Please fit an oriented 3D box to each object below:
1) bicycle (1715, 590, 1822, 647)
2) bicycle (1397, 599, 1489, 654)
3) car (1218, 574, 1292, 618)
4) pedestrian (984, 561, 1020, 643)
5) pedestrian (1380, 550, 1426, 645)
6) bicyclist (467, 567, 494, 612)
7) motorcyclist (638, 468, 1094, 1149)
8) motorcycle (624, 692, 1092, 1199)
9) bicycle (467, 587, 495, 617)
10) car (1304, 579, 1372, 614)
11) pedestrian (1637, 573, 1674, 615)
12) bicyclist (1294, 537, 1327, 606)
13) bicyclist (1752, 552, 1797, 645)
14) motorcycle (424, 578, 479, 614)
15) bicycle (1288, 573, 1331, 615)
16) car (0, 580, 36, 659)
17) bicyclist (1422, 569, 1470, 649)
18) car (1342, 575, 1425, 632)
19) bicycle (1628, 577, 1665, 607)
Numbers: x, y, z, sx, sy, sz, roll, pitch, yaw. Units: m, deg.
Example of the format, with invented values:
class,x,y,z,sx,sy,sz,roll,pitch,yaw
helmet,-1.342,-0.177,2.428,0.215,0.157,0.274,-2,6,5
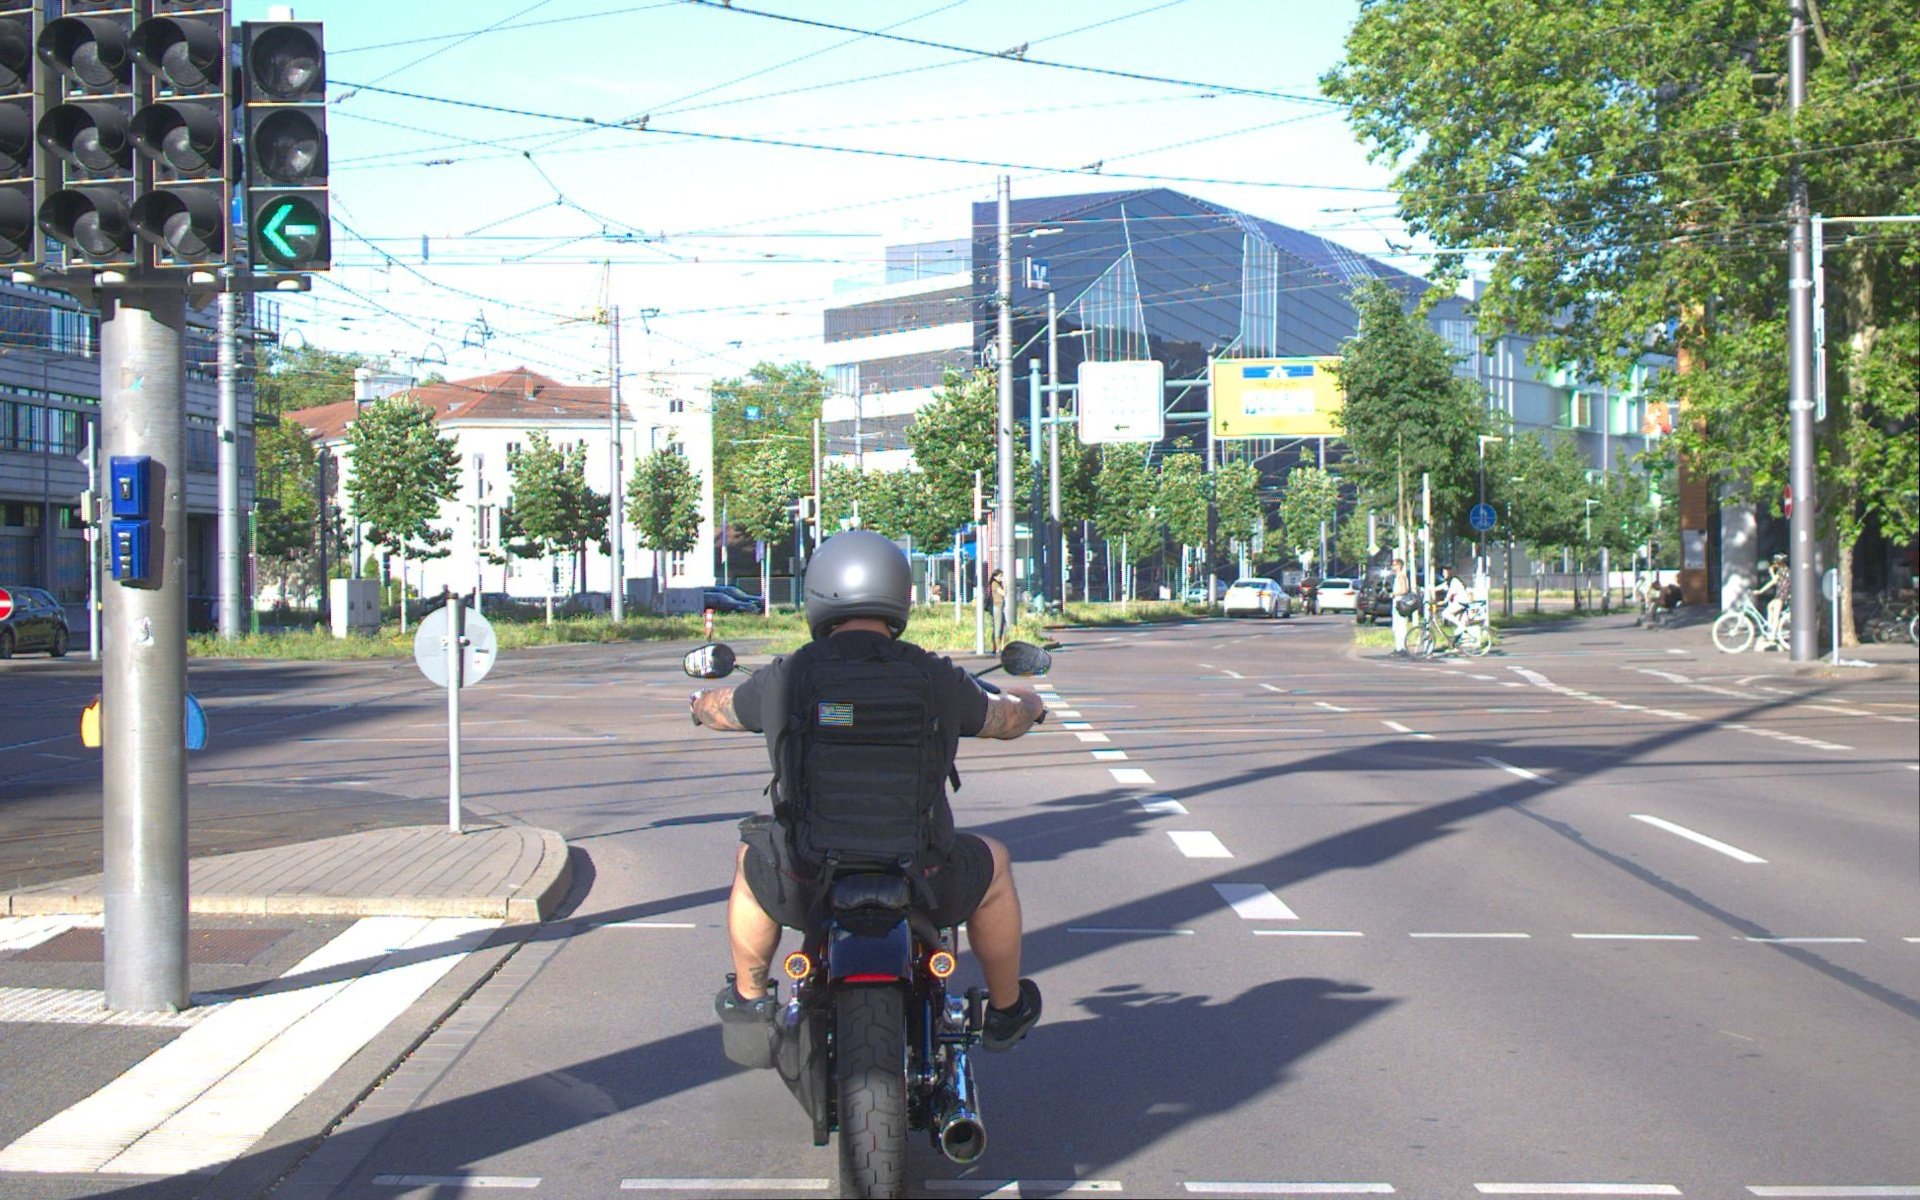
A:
class,x,y,z,sx,sy,sz,roll,pitch,yaw
bicycle,14.675,0.331,62.435,1.853,1.018,0.516,-1,0,11
bicycle,9.055,0.498,64.458,1.629,1.018,0.516,-1,0,23
car,10.622,-0.133,123.531,1.903,1.503,3.997,1,0,16
pedestrian,0.811,0.039,66.100,0.657,1.577,0.489,0,1,3
pedestrian,8.565,-0.048,66.476,0.701,1.830,0.514,1,0,35
bicyclist,-17.733,-0.380,127.231,0.764,1.661,0.993,0,0,7
motorcyclist,-0.223,0.471,8.523,1.022,1.547,1.286,1,1,-1
motorcycle,-0.237,0.843,8.669,1.005,1.121,2.323,1,1,-1
bicycle,-17.740,0.060,127.273,0.642,1.104,1.685,0,1,6
car,15.440,-0.148,140.228,2.017,1.371,4.035,0,1,17
pedestrian,17.778,-0.149,87.870,0.785,1.053,0.813,0,1,22
bicyclist,13.541,-1.102,132.793,1.017,2.615,1.470,0,1,16
bicyclist,14.785,-0.027,62.426,0.743,1.689,0.570,-1,0,11
motorcycle,-17.710,-0.150,119.800,0.984,1.227,2.941,0,0,11
bicycle,13.510,-0.232,132.854,1.017,1.574,3.571,0,1,16
car,-19.397,0.380,67.783,1.791,1.461,4.312,-1,1,-9
bicyclist,9.110,0.170,64.423,0.743,1.498,0.569,-1,0,23
car,14.300,0.123,115.880,2.055,1.867,4.223,1,0,17
bicycle,26.918,-0.329,134.792,1.041,1.129,3.177,0,1,19
